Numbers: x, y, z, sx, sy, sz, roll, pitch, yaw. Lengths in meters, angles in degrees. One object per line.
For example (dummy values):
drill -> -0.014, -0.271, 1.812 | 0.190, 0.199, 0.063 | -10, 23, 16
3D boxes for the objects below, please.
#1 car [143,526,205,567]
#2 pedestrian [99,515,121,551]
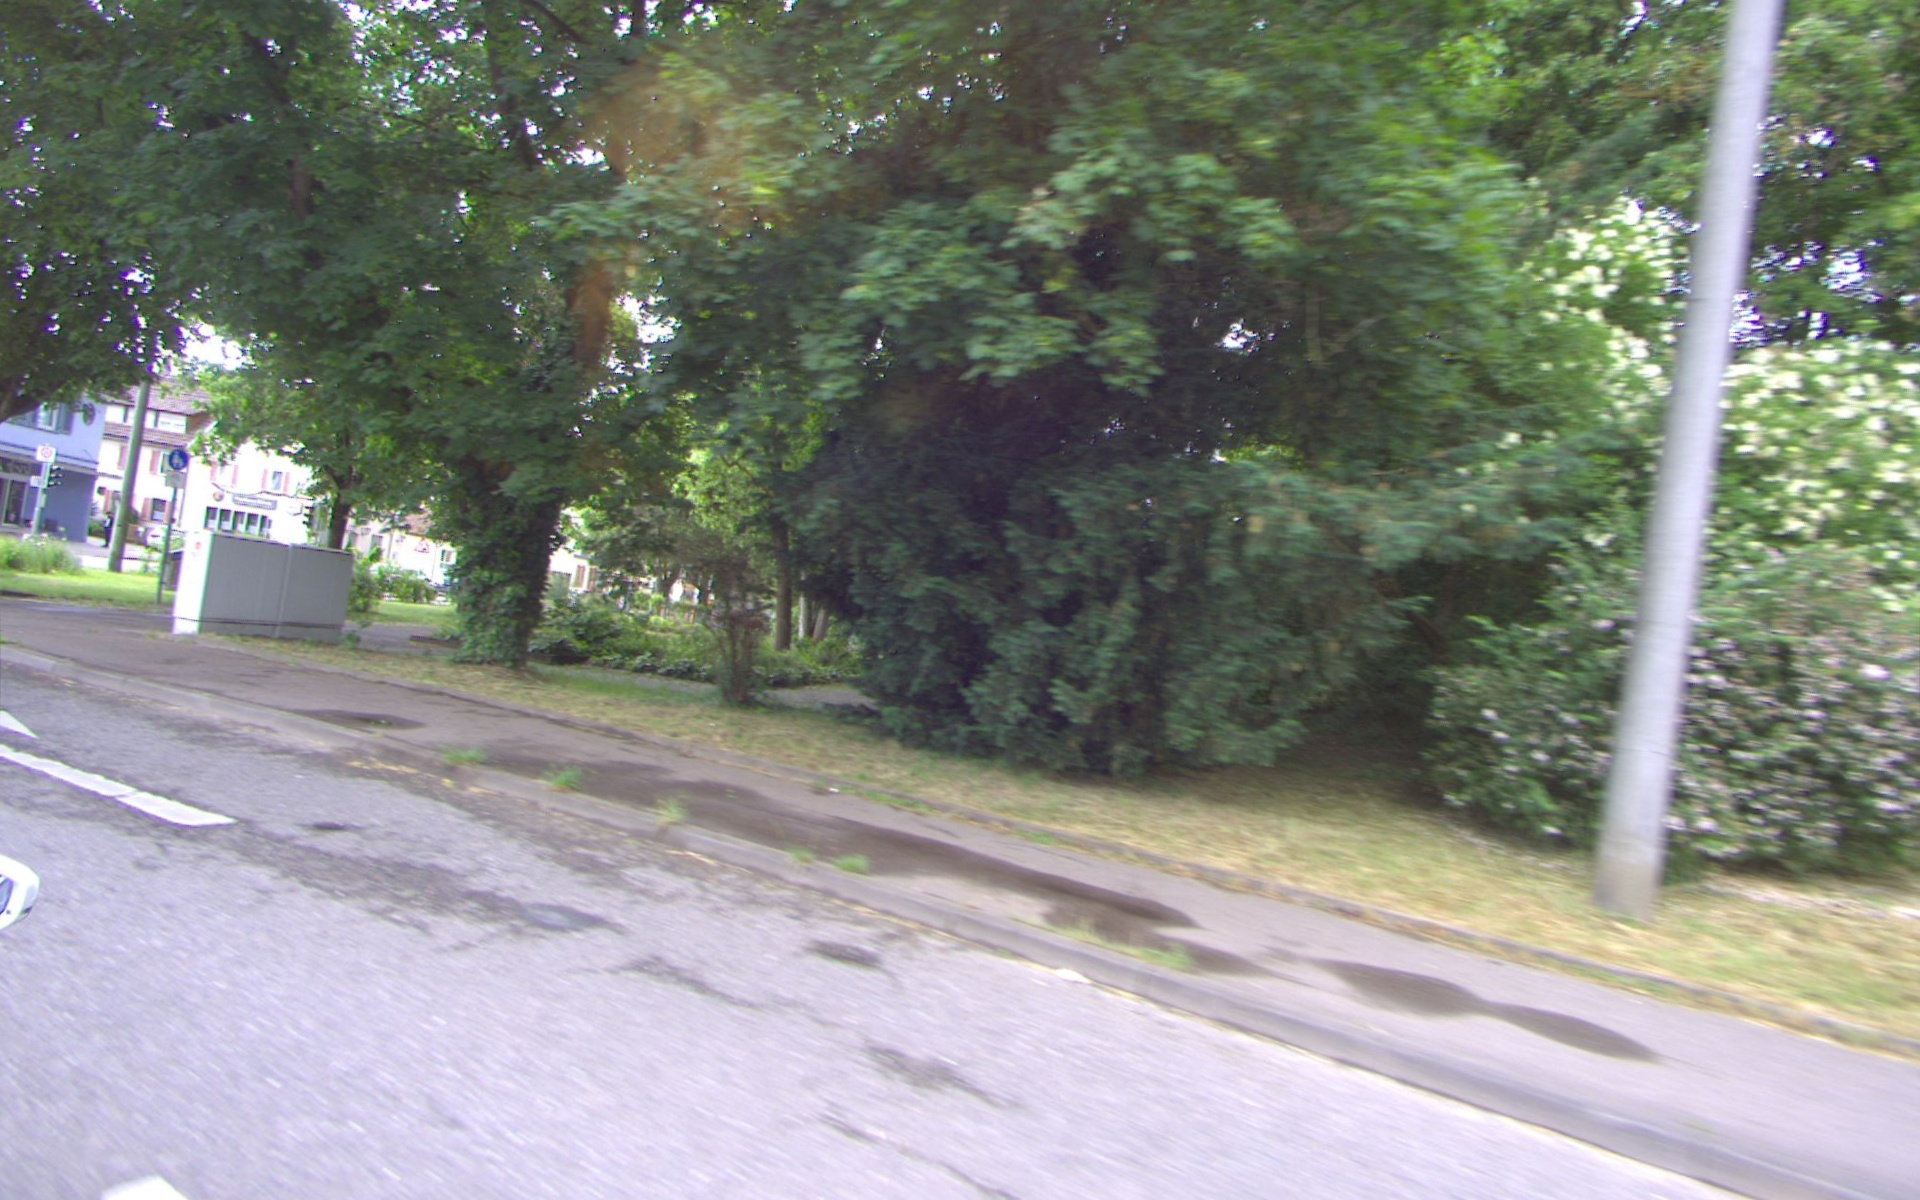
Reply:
car -> -41.852, -2.831, 53.647 | 1.841, 1.887, 3.535 | 8, -1, -29
pedestrian -> -39.511, -3.103, 46.784 | 0.492, 1.570, 0.404 | 7, 0, -5
